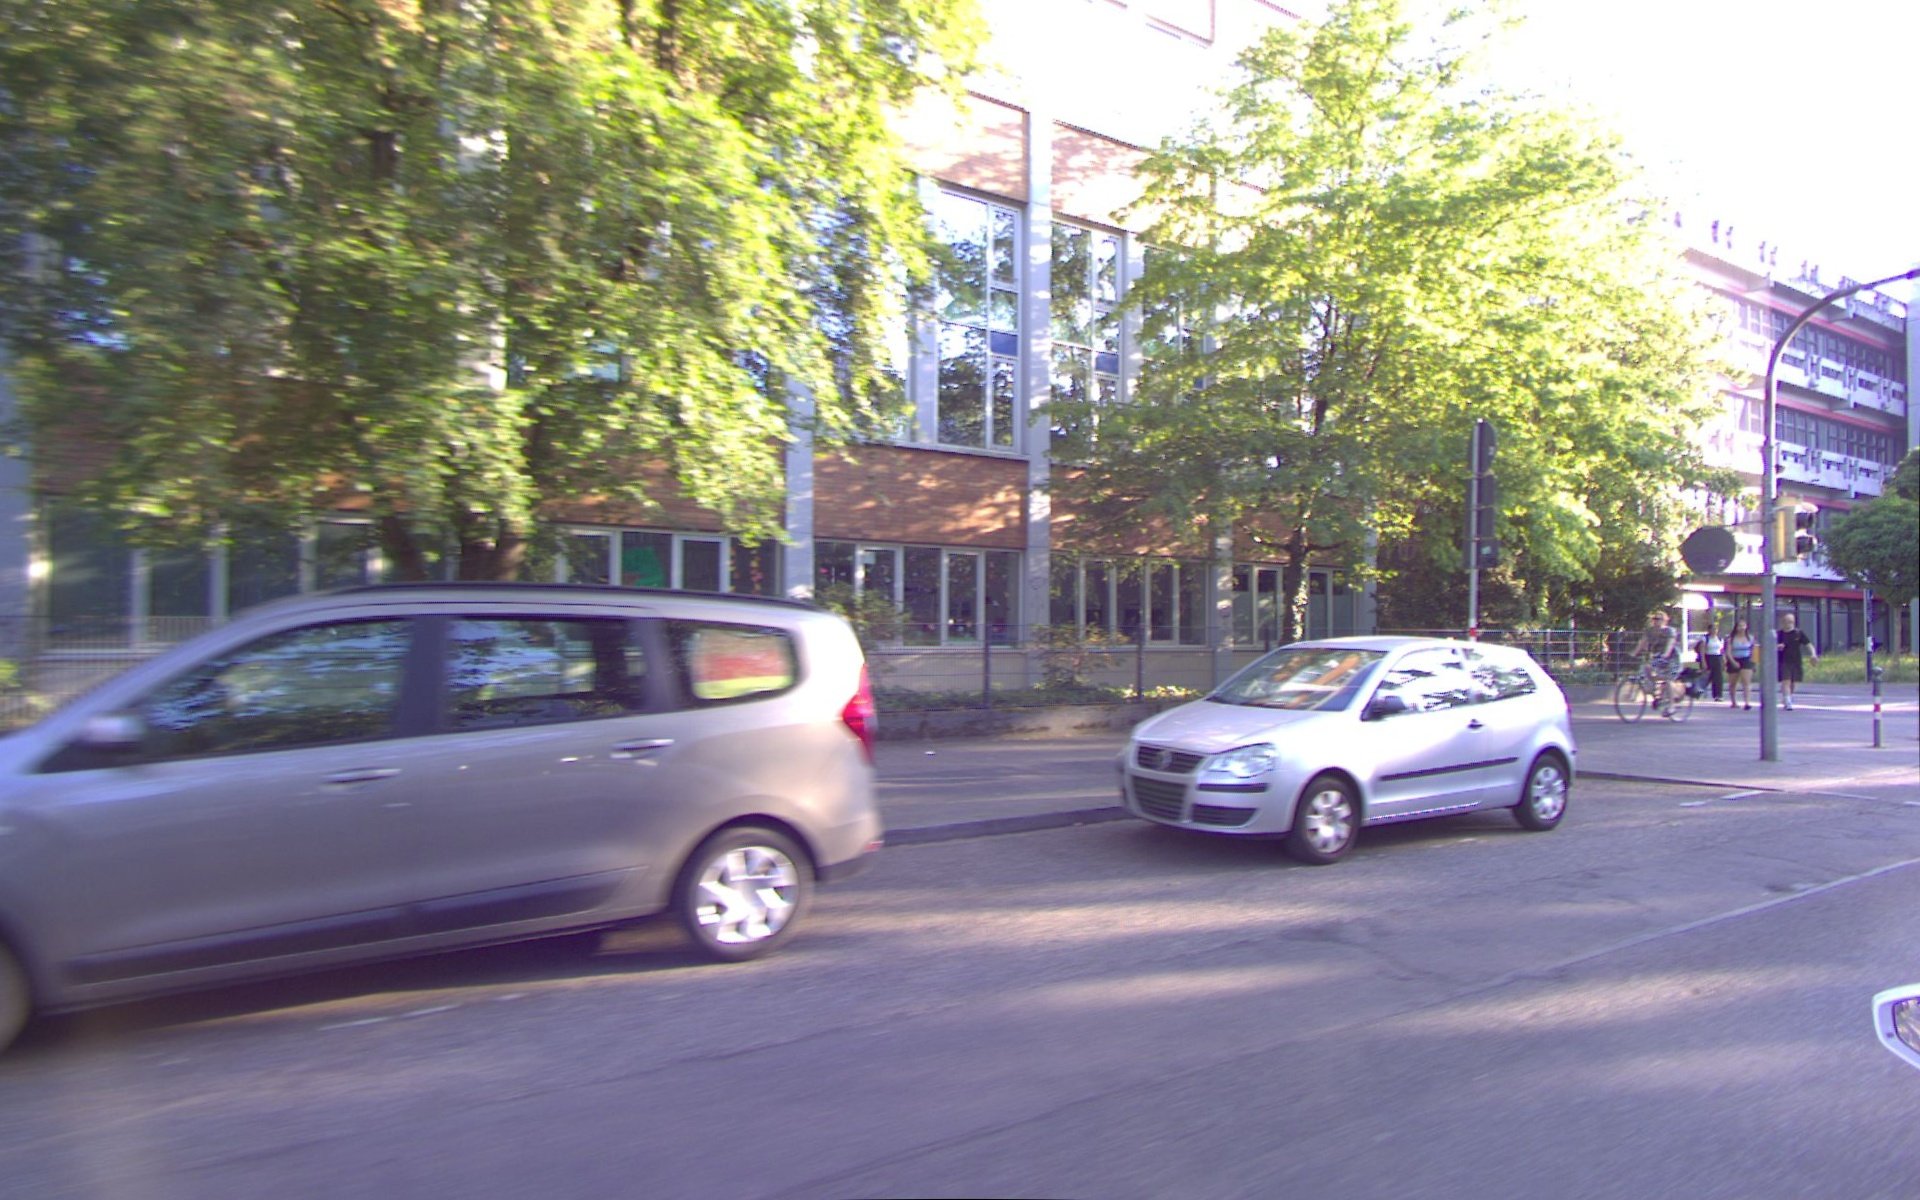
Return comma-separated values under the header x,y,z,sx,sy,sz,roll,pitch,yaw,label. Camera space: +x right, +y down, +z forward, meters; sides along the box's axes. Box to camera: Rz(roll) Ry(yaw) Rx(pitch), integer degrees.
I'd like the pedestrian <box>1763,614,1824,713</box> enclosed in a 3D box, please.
x,y,z,sx,sy,sz,roll,pitch,yaw,label
16.024,1.196,19.342,0.809,1.848,0.954,-1,-2,37,pedestrian

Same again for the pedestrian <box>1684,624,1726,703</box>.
x,y,z,sx,sy,sz,roll,pitch,yaw,label
16.338,1.384,22.034,0.704,1.684,0.764,-1,-2,37,pedestrian

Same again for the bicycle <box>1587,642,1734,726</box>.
x,y,z,sx,sy,sz,roll,pitch,yaw,label
11.104,1.309,15.927,2.155,1.265,0.686,1,-1,-14,bicycle

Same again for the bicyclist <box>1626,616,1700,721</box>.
x,y,z,sx,sy,sz,roll,pitch,yaw,label
11.153,1.066,15.938,0.694,1.624,0.676,1,-1,-14,bicyclist

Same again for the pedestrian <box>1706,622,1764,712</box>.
x,y,z,sx,sy,sz,roll,pitch,yaw,label
14.925,1.270,19.359,0.702,1.684,0.707,-1,-2,24,pedestrian

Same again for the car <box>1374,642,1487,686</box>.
x,y,z,sx,sy,sz,roll,pitch,yaw,label
16.486,2.237,35.290,1.671,1.476,3.239,4,-4,-39,car

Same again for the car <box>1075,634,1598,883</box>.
x,y,z,sx,sy,sz,roll,pitch,yaw,label
2.940,1.022,7.730,3.834,1.476,1.672,1,-3,-29,car

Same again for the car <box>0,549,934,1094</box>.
x,y,z,sx,sy,sz,roll,pitch,yaw,label
-2.396,0.751,4.558,4.288,1.731,1.672,1,-3,-30,car
